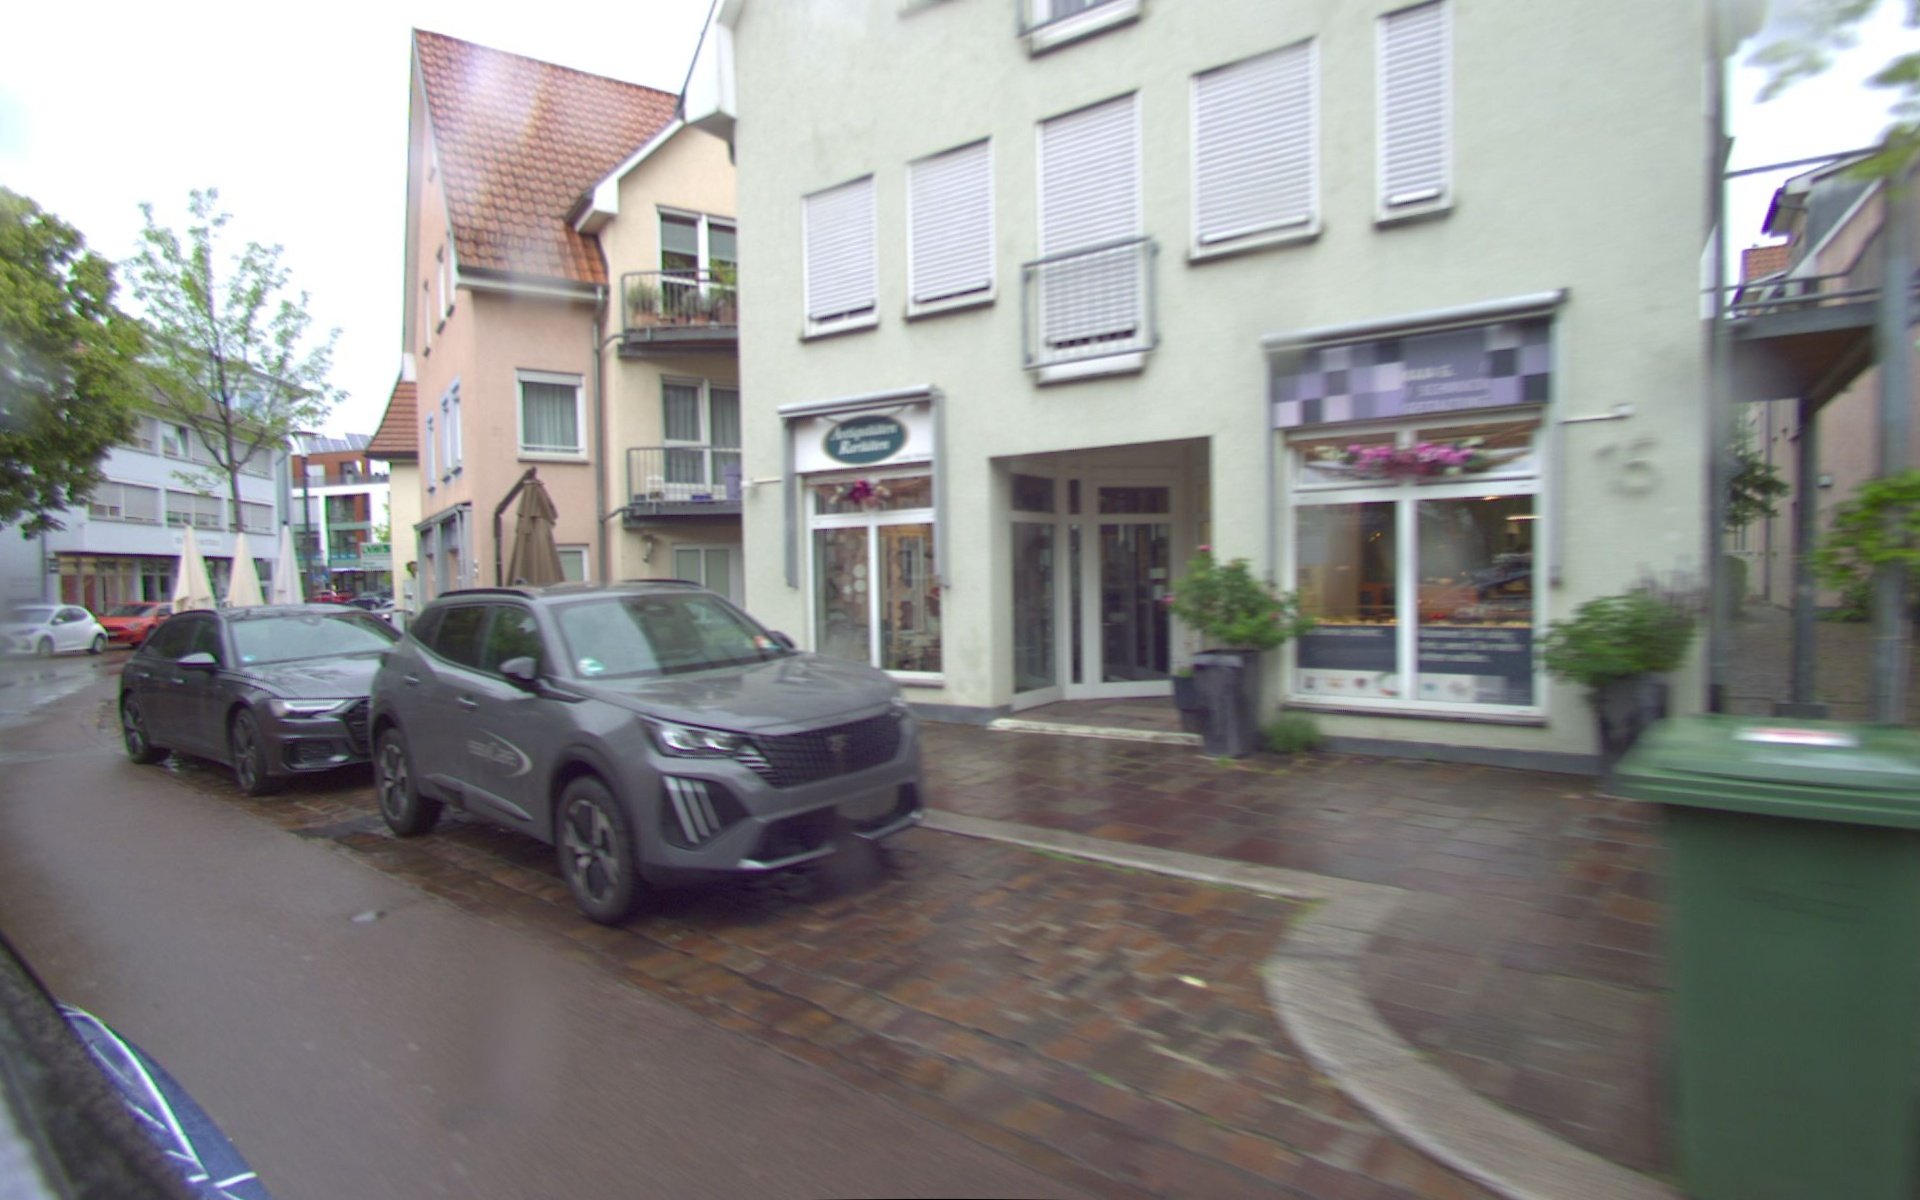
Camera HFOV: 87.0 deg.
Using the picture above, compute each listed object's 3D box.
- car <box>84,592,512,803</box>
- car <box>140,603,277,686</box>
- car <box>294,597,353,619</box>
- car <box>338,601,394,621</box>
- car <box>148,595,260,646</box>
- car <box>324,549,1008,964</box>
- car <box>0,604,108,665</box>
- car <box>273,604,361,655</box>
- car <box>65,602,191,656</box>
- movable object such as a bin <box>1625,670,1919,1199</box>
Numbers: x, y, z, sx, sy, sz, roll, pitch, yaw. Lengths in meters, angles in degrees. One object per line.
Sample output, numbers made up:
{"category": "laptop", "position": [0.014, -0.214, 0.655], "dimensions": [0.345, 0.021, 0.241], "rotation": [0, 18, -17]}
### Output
{"category": "car", "position": [-6.278, 0.742, 9.385], "dimensions": [4.611, 1.453, 1.845], "rotation": [-1, 1, 37]}
{"category": "car", "position": [-16.273, 0.891, 22.137], "dimensions": [1.849, 1.552, 4.414], "rotation": [-3, 1, -30]}
{"category": "car", "position": [-48.617, 0.598, 77.324], "dimensions": [3.890, 1.566, 1.793], "rotation": [0, 3, 19]}
{"category": "car", "position": [-44.284, 0.817, 75.459], "dimensions": [3.555, 1.446, 1.671], "rotation": [0, 3, 17]}
{"category": "car", "position": [-29.377, 0.743, 39.509], "dimensions": [1.764, 1.651, 4.452], "rotation": [-2, 3, -13]}
{"category": "car", "position": [-1.996, 0.591, 5.991], "dimensions": [4.327, 1.535, 1.842], "rotation": [-1, 3, 42]}
{"category": "car", "position": [-26.403, 0.937, 28.845], "dimensions": [1.763, 1.567, 3.961], "rotation": [-1, 1, -16]}
{"category": "car", "position": [-20.720, 0.915, 32.769], "dimensions": [1.823, 1.463, 4.086], "rotation": [-2, 0, -25]}
{"category": "car", "position": [-27.847, 0.926, 34.048], "dimensions": [1.763, 1.479, 3.961], "rotation": [-2, 3, -15]}
{"category": "movable object such as a bin", "position": [1.945, 0.756, 2.223], "dimensions": [0.743, 1.091, 0.739], "rotation": [1, 3, 39]}
